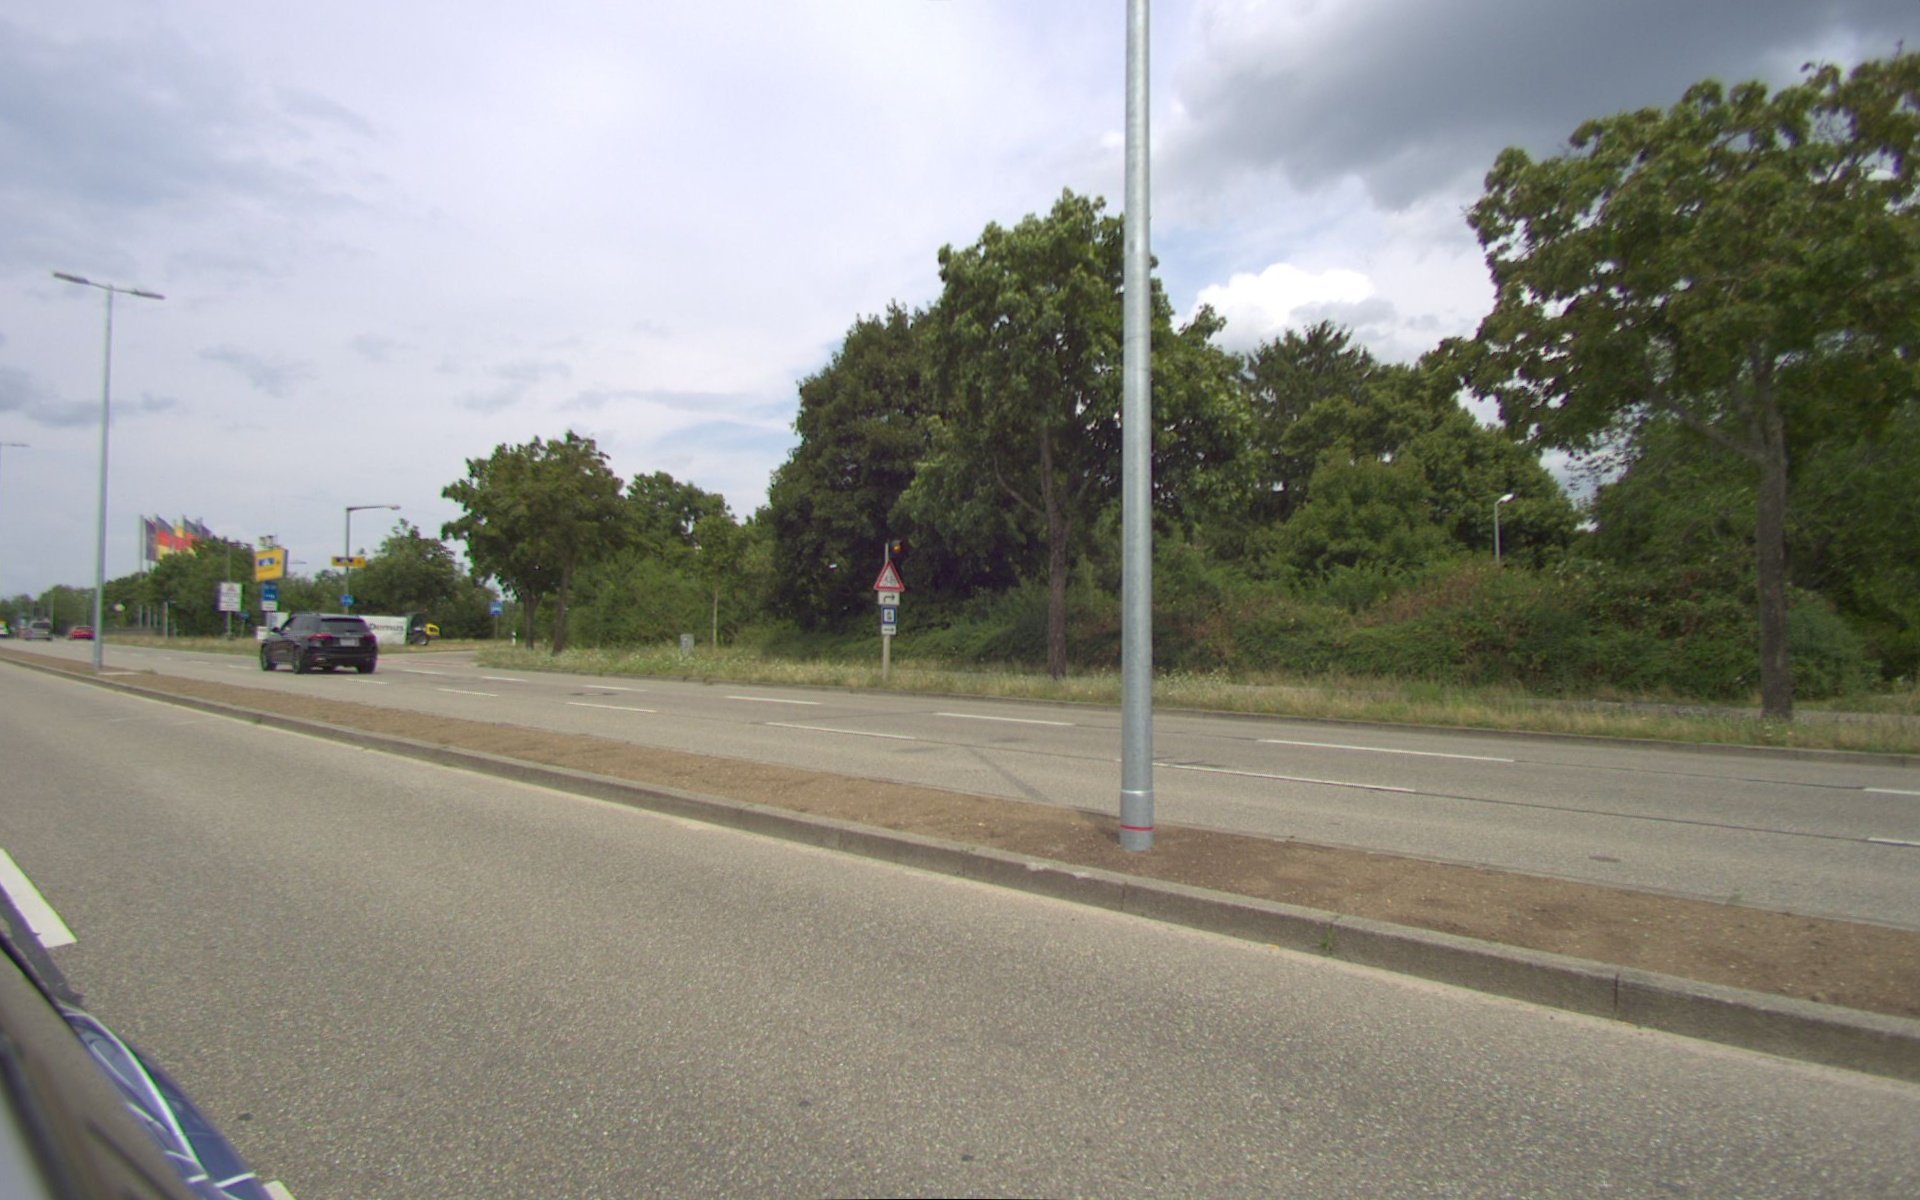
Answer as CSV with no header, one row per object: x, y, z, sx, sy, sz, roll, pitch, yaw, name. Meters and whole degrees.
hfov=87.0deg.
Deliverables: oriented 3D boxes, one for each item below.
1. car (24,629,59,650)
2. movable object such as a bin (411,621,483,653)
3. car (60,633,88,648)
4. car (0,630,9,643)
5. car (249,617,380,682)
-84.743,3.655,93.391,4.537,1.823,1.883,-3,-3,41,car
-39.428,2.831,77.877,1.993,2.415,4.544,-3,-2,31,movable object such as a bin
-86.944,3.987,99.291,4.347,1.332,1.734,-3,-3,44,car
-122.313,4.657,128.745,4.383,1.641,1.676,-3,-3,43,car
-19.421,1.501,30.372,4.793,1.825,1.973,-3,-4,40,car
